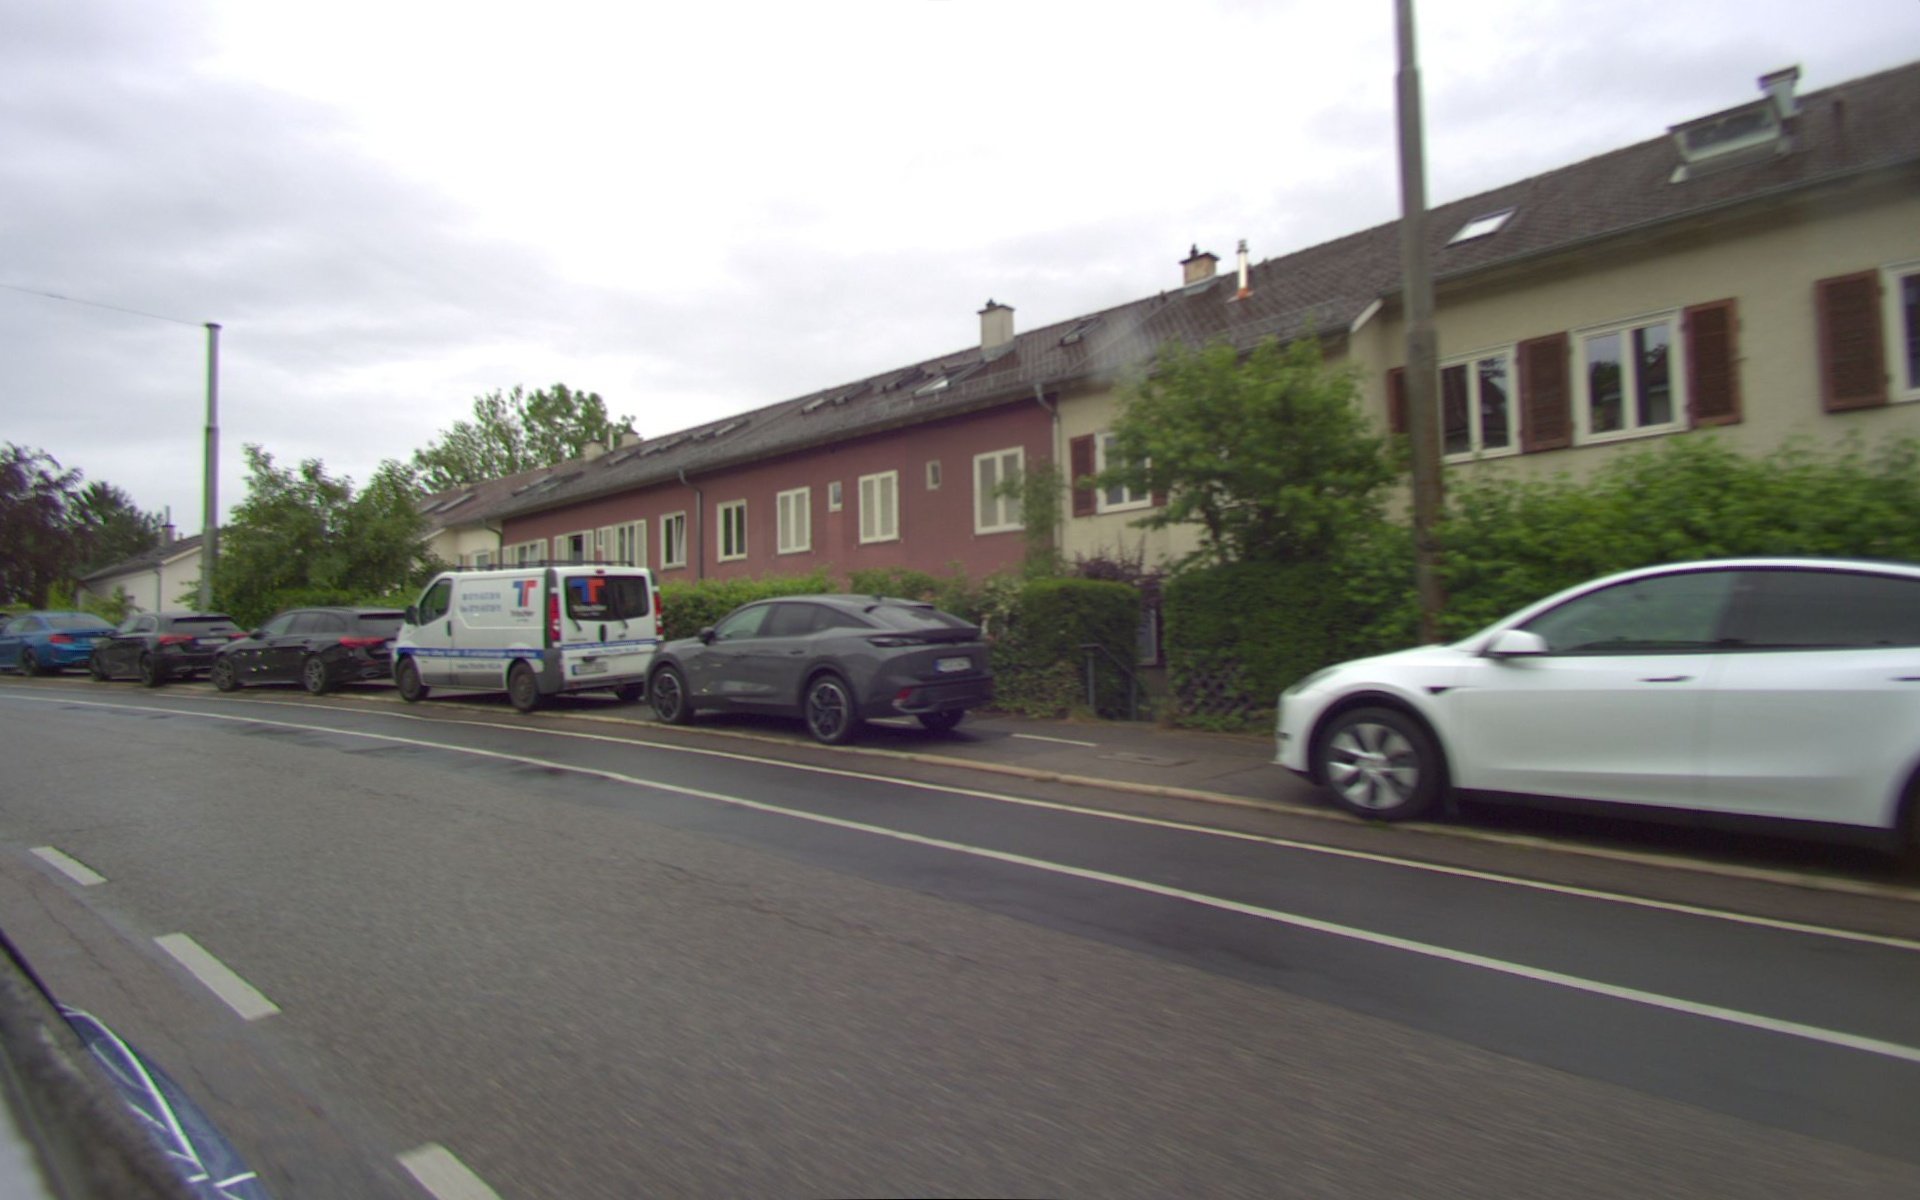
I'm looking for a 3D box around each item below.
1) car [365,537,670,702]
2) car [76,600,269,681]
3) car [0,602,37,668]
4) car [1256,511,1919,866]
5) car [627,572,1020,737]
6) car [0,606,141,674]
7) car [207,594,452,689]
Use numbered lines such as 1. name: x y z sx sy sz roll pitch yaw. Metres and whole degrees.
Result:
1. car: -6.676 0.265 15.032 5.009 2.094 1.832 -1 0 35
2. car: -16.234 0.782 20.802 4.509 1.488 1.794 -1 0 33
3. car: -25.672 0.898 25.370 4.353 1.589 1.916 -1 0 19
4. car: 4.374 0.409 6.001 4.675 1.643 1.909 -1 0 41
5. car: -1.672 0.505 11.299 4.519 1.488 1.790 -1 0 40
6. car: -21.108 0.914 23.286 4.445 1.415 1.691 -1 0 24
7. car: -11.154 0.675 17.829 4.505 1.488 1.795 -1 0 31
